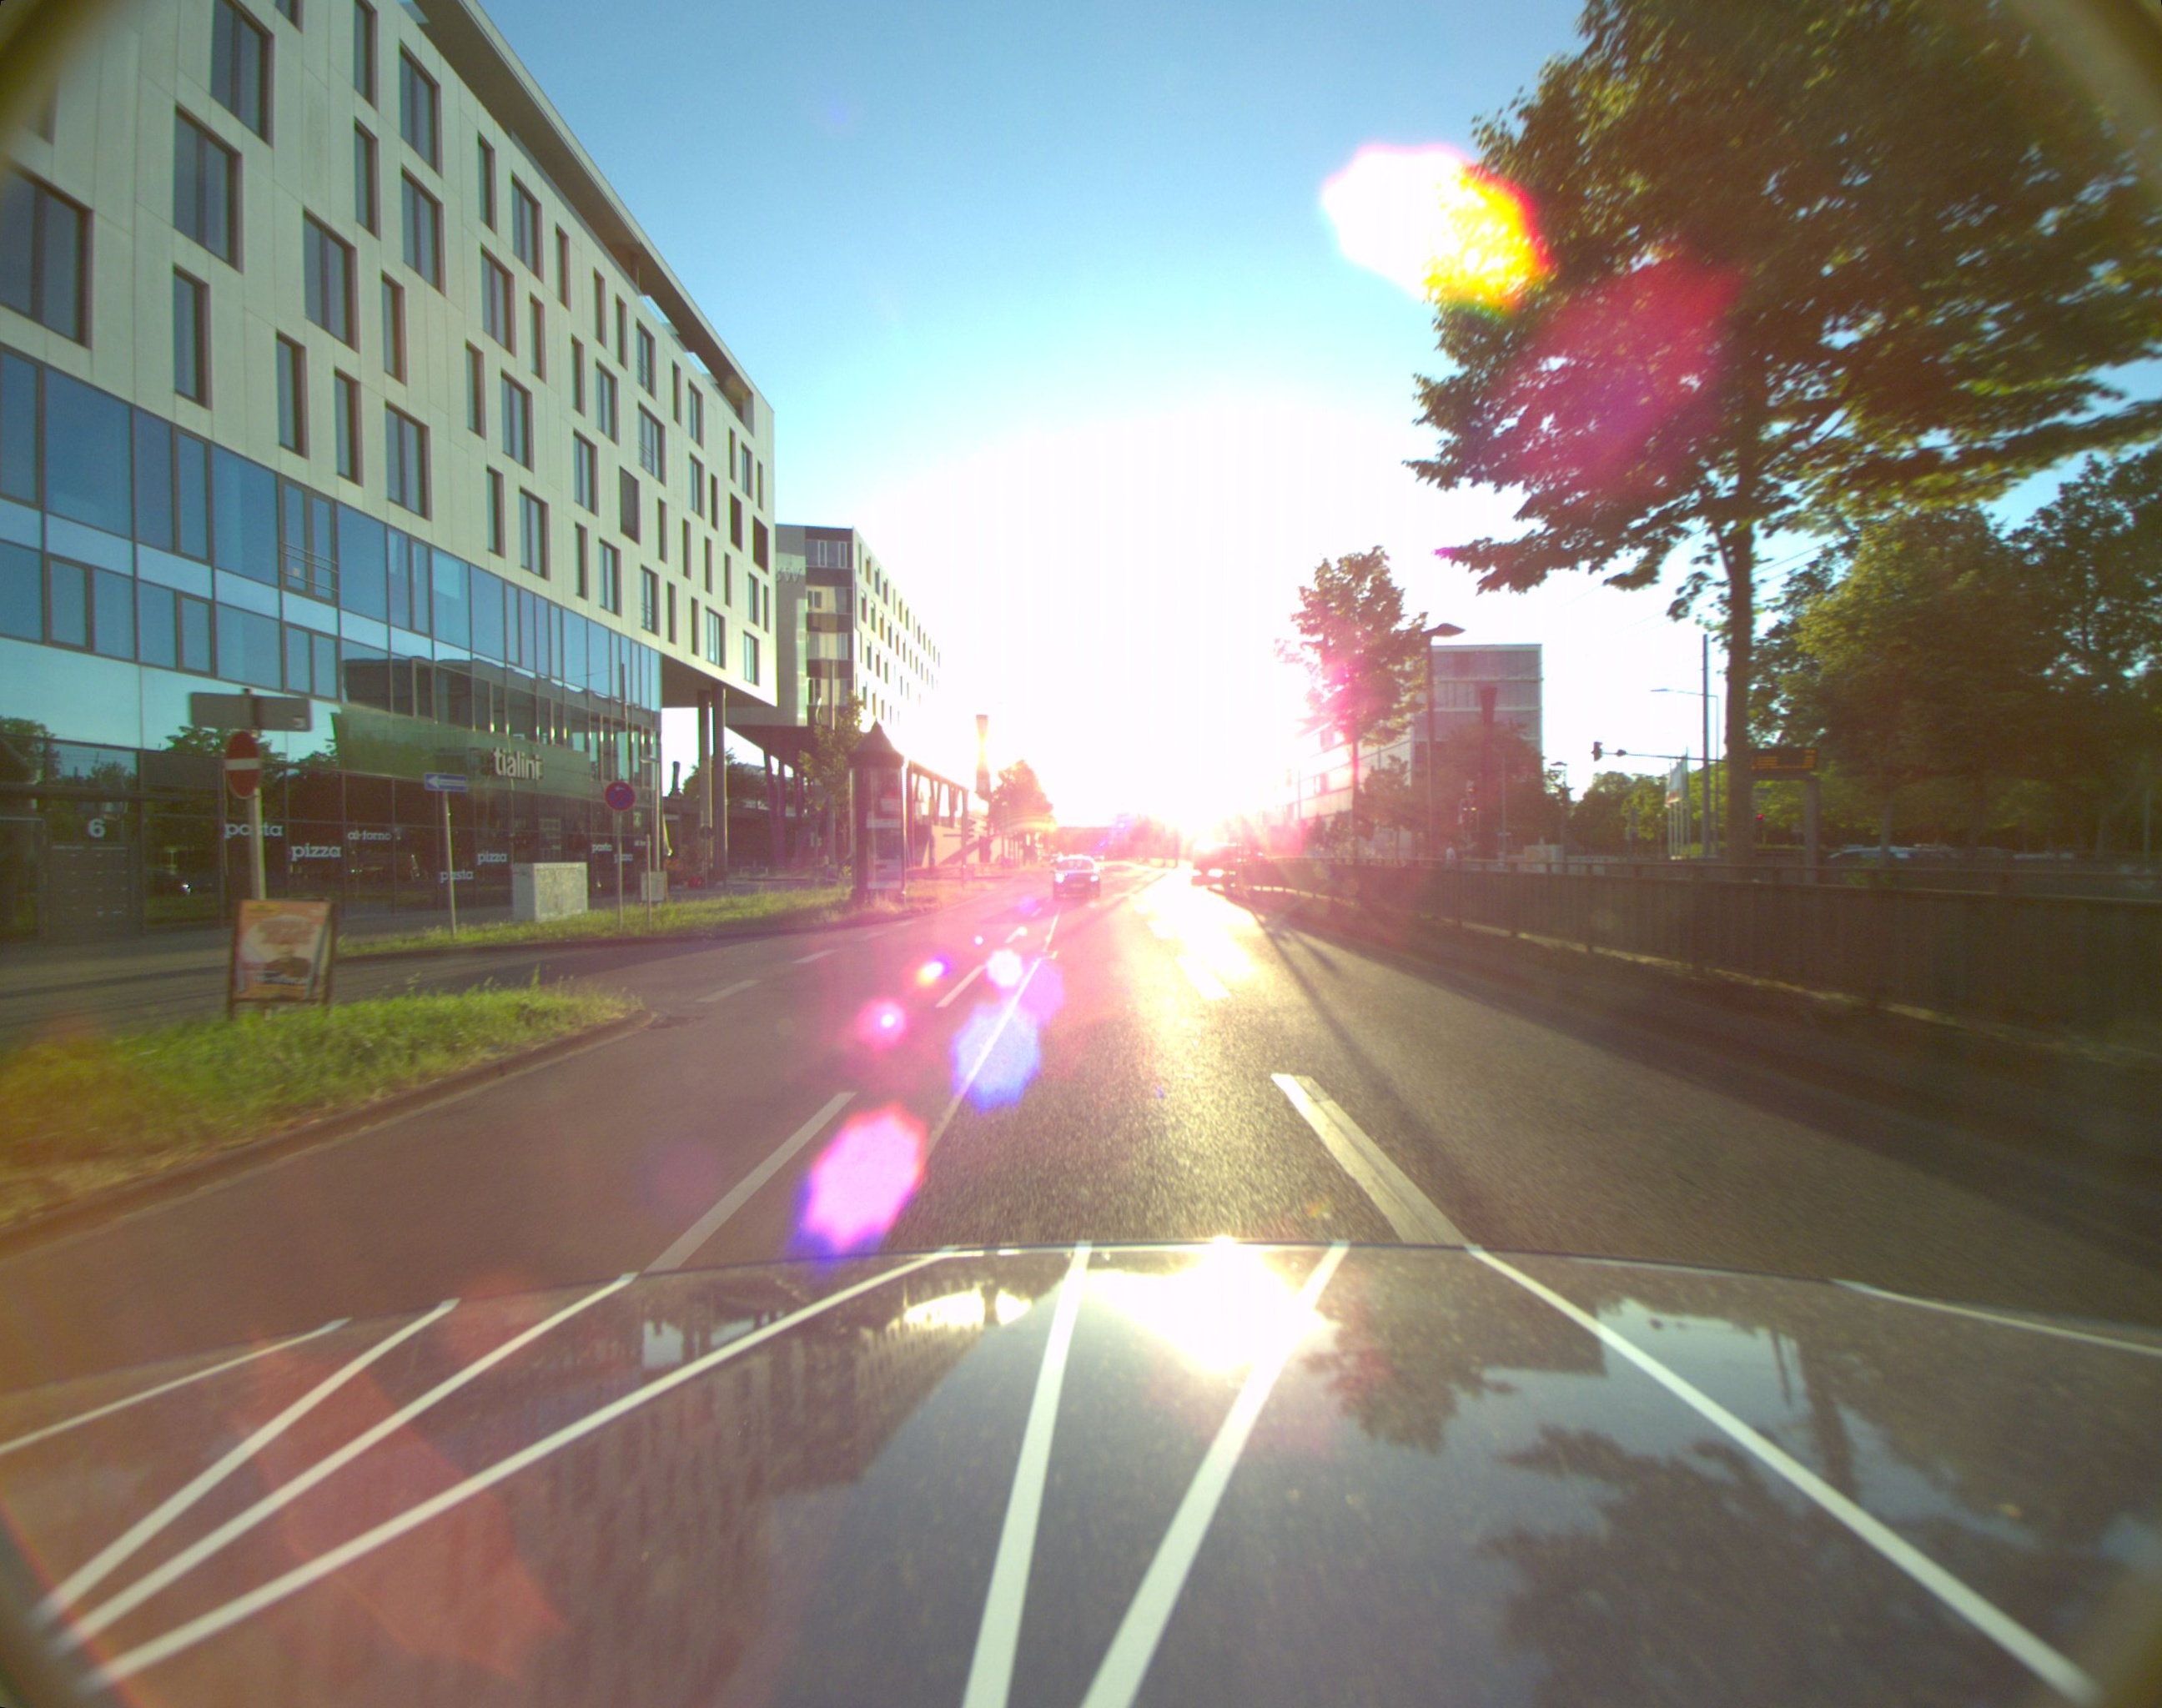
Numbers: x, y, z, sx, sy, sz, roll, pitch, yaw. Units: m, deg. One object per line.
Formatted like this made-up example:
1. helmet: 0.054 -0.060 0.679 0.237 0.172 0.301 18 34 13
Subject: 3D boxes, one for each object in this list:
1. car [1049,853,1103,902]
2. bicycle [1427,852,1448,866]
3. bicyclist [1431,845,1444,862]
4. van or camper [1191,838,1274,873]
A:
1. car: -0.153 0.793 27.649 1.828 1.625 4.000 -1 0 0
2. bicycle: 28.115 0.402 59.916 1.794 0.998 0.652 -2 0 -35
3. bicyclist: 28.075 -0.040 59.901 0.642 1.309 0.652 -2 0 -35
4. van or camper: 9.527 0.101 48.079 4.884 2.002 2.000 -2 0 2
